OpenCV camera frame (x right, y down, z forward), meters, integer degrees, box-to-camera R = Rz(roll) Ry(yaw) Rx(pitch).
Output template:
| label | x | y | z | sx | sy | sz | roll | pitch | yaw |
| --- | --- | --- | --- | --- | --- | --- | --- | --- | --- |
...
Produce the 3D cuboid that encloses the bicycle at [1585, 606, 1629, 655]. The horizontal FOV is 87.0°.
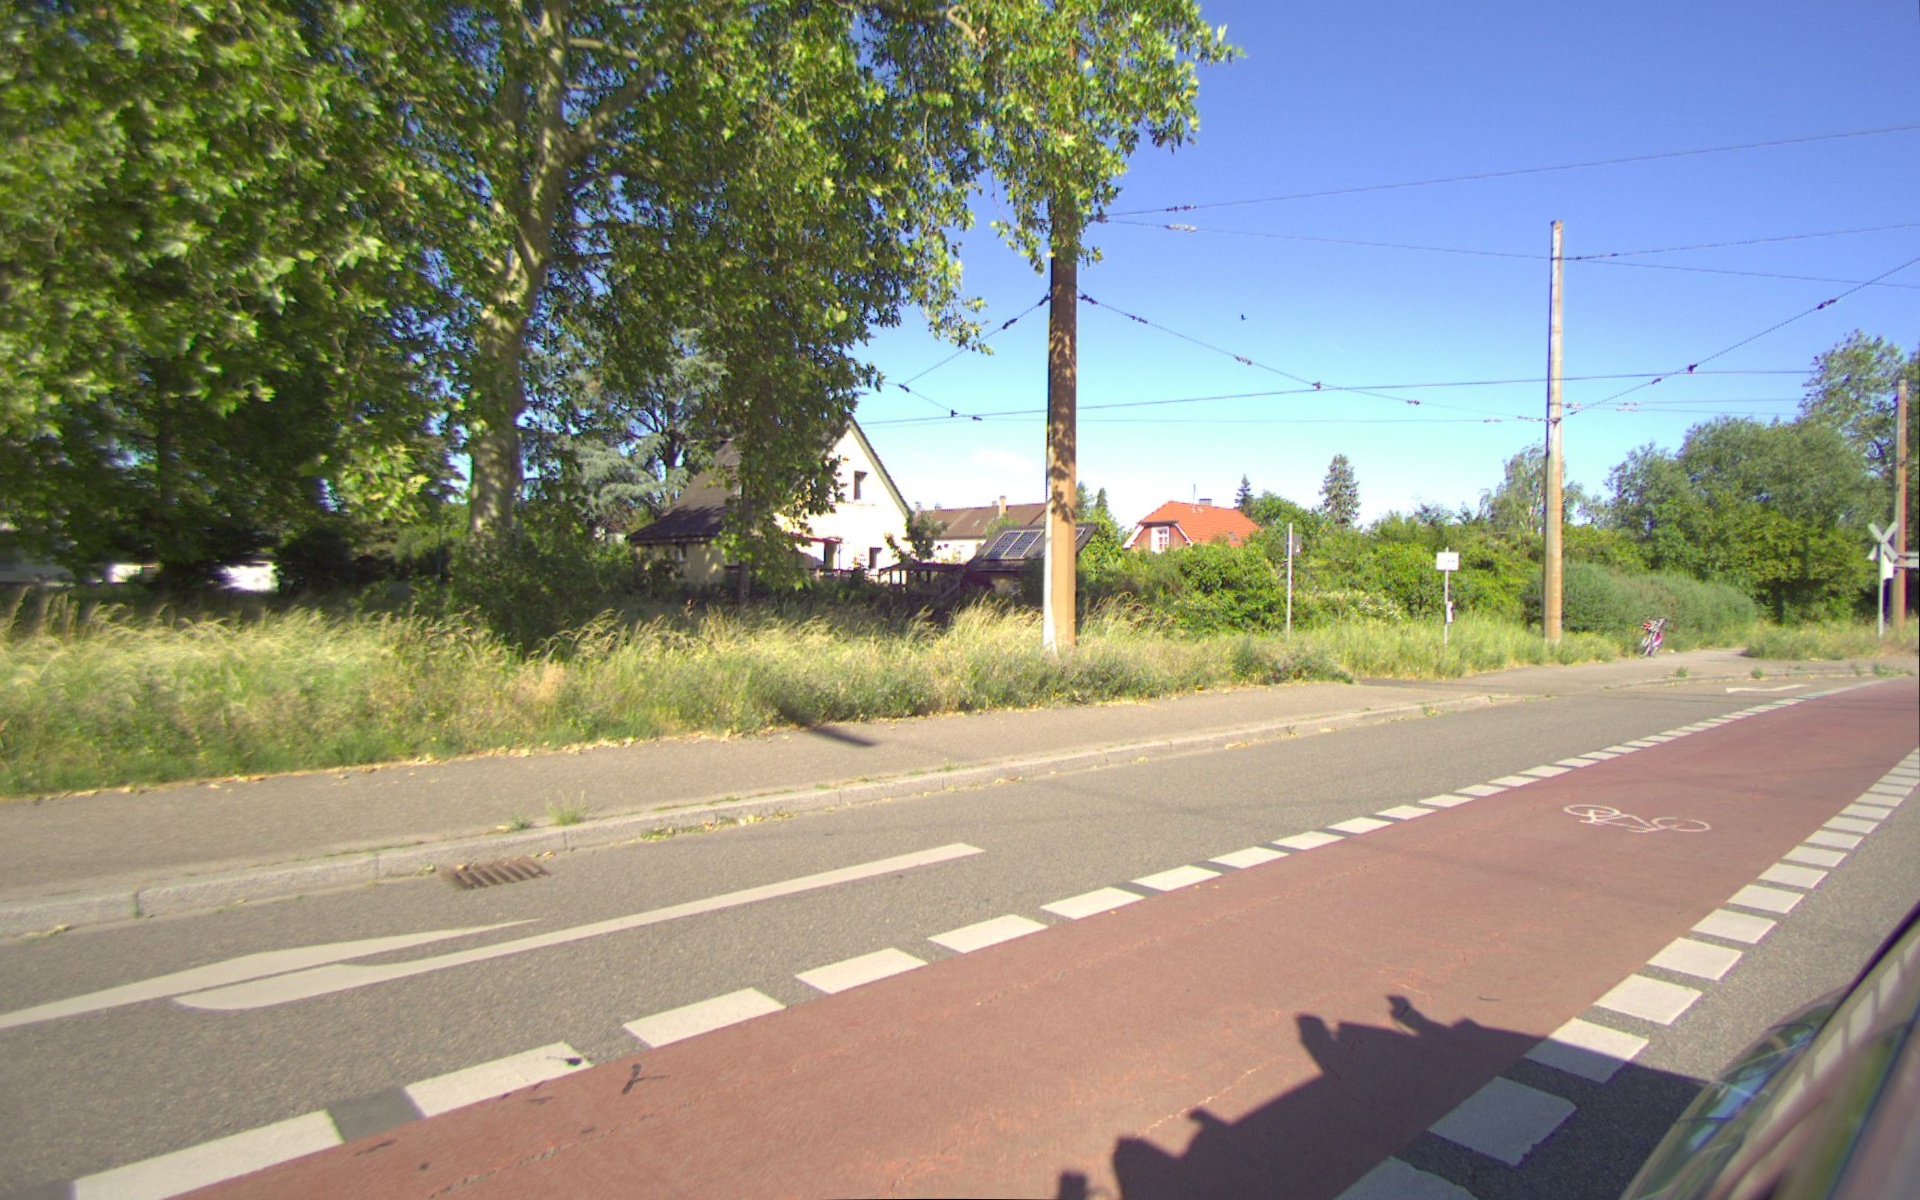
| label | x | y | z | sx | sy | sz | roll | pitch | yaw |
| --- | --- | --- | --- | --- | --- | --- | --- | --- | --- |
| bicycle | 15.867 | 0.730 | 24.804 | 2.060 | 1.149 | 0.365 | 1 | 0 | -43 |
